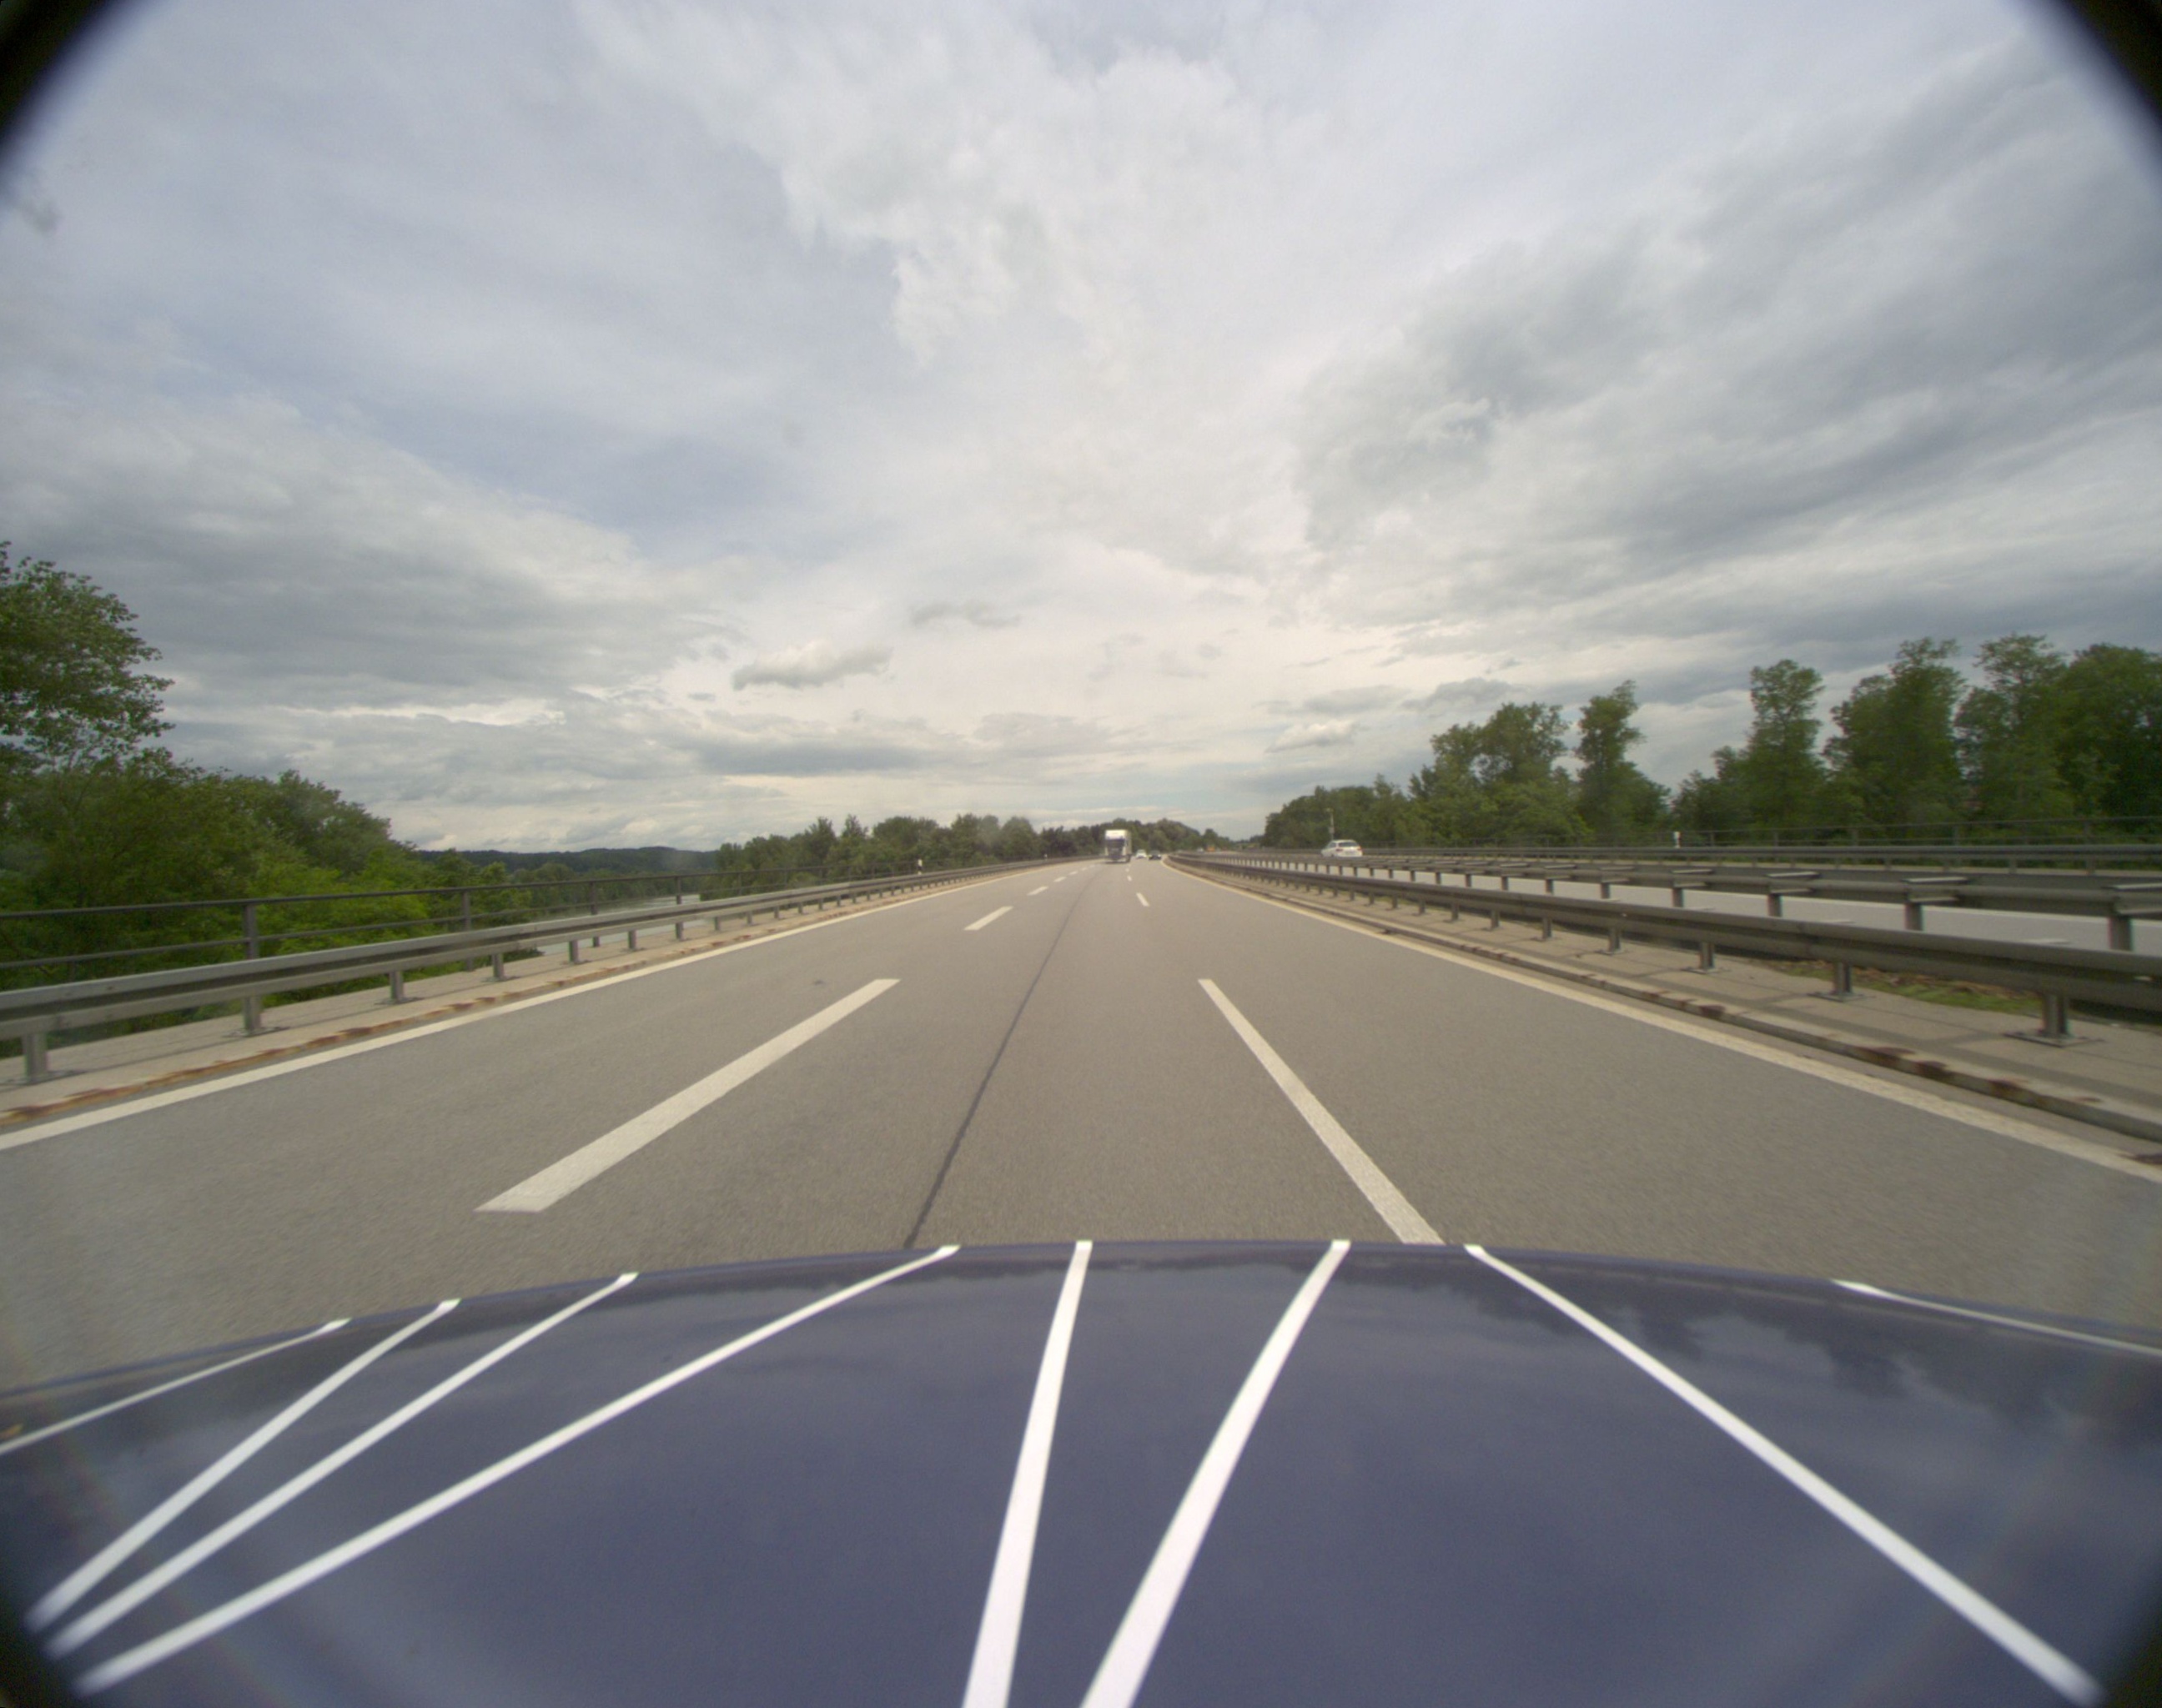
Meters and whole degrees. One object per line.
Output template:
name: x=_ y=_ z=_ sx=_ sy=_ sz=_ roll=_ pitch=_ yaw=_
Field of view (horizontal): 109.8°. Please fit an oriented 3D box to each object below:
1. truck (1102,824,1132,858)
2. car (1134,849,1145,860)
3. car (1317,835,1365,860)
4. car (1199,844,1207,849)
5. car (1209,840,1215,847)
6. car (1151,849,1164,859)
truck: x=4.422 y=-1.555 z=92.376 sx=3.068 sy=3.869 sz=6.003 roll=-2 pitch=0 yaw=8
car: x=10.549 y=0.002 z=135.943 sx=1.774 sy=1.813 sz=4.166 roll=-3 pitch=1 yaw=5
car: x=16.091 y=-0.427 z=47.212 sx=1.535 sy=1.399 sz=4.328 roll=-3 pitch=1 yaw=2
car: x=30.977 y=-1.922 z=193.133 sx=1.776 sy=1.379 sz=4.389 roll=-2 pitch=1 yaw=6
car: x=44.628 y=-3.557 z=258.938 sx=1.997 sy=2.280 sz=6.401 roll=-2 pitch=1 yaw=9
car: x=11.408 y=-0.032 z=113.717 sx=1.774 sy=1.474 sz=4.700 roll=-1 pitch=-1 yaw=7
